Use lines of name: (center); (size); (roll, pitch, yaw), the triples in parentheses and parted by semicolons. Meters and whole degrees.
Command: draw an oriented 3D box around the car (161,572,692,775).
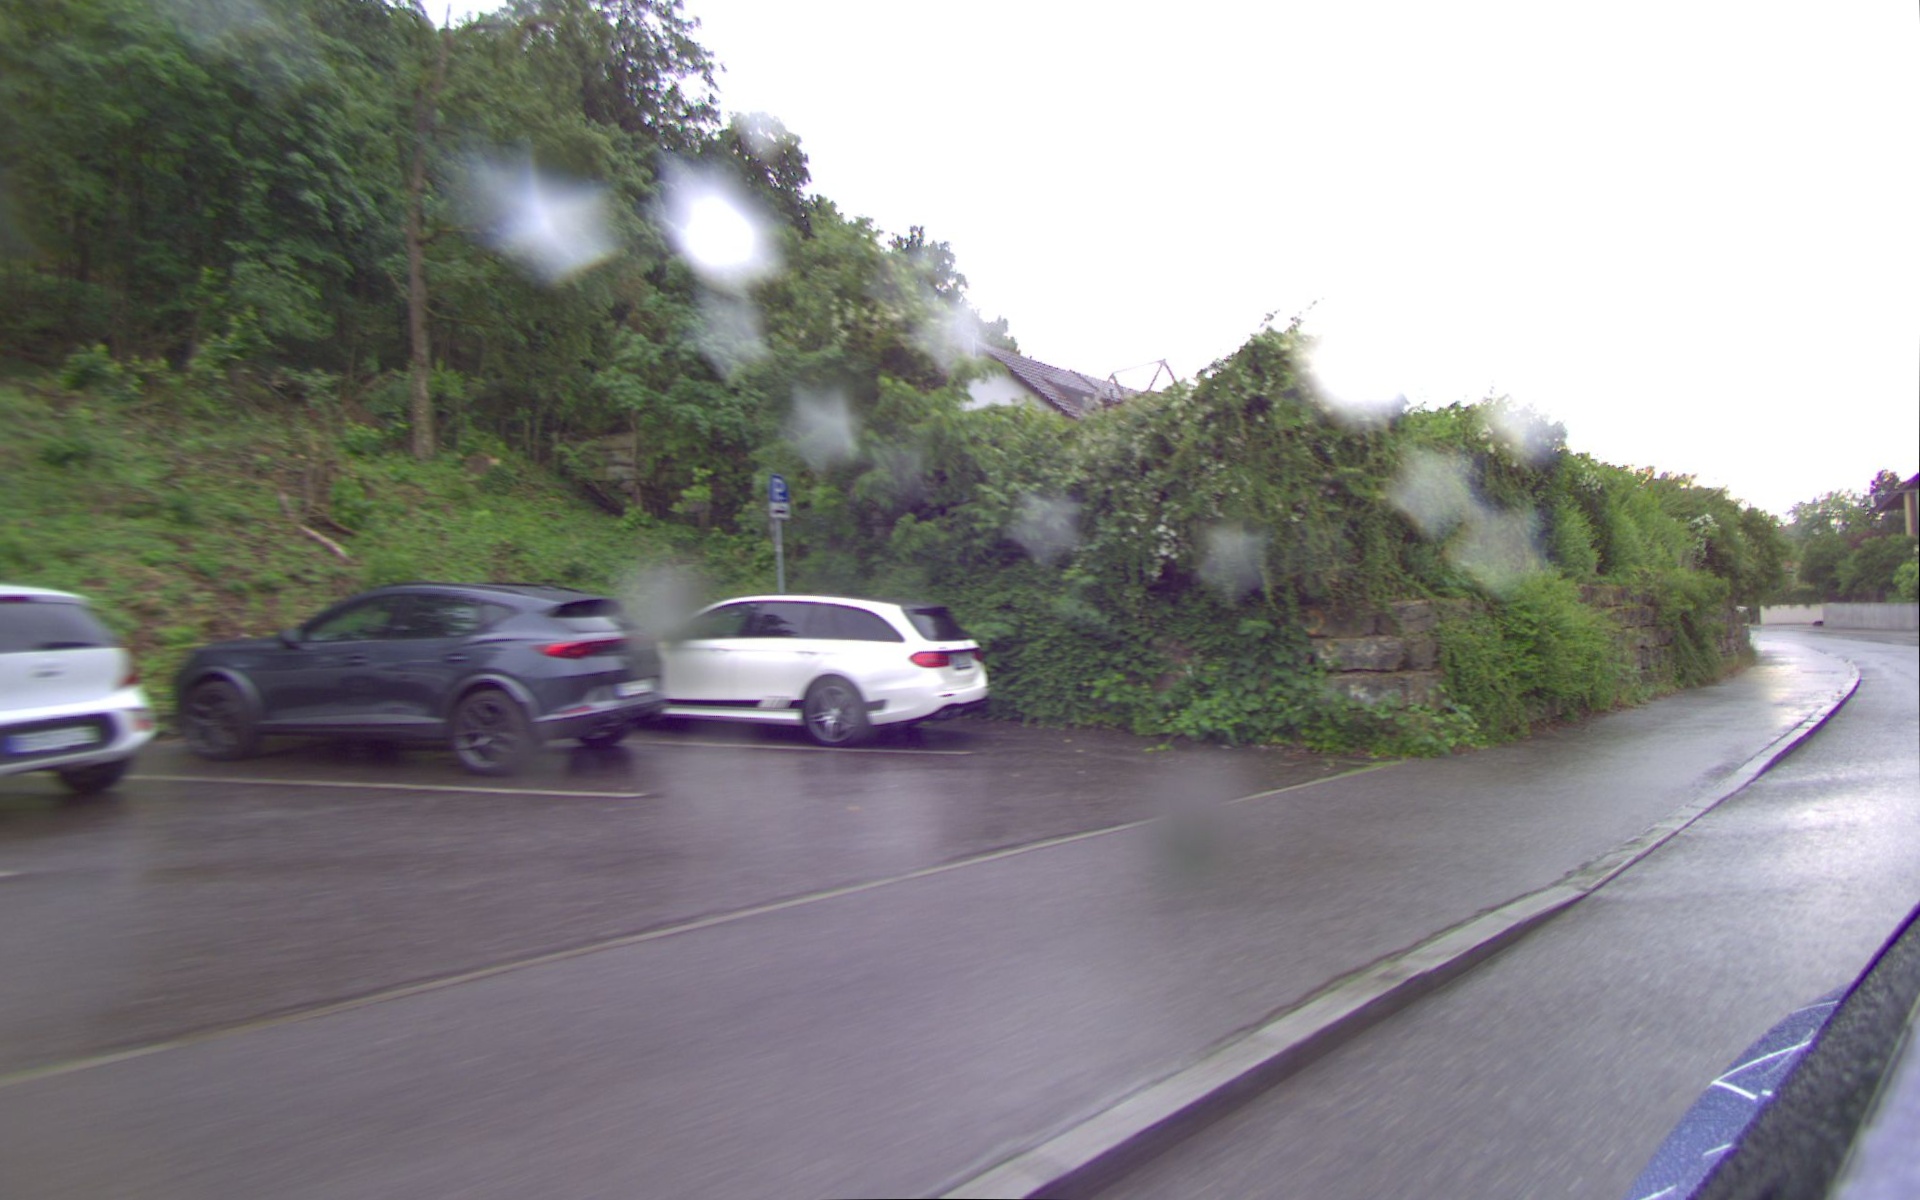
car: (-4.653, 0.543, 9.033); (4.028, 1.526, 1.746); (1, 0, 12)

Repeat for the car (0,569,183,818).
car: (-7.585, 0.535, 6.683); (3.729, 1.498, 1.749); (1, 0, 6)

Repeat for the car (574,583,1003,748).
car: (-1.835, 0.582, 10.929); (4.263, 1.482, 1.800); (1, 0, 21)
